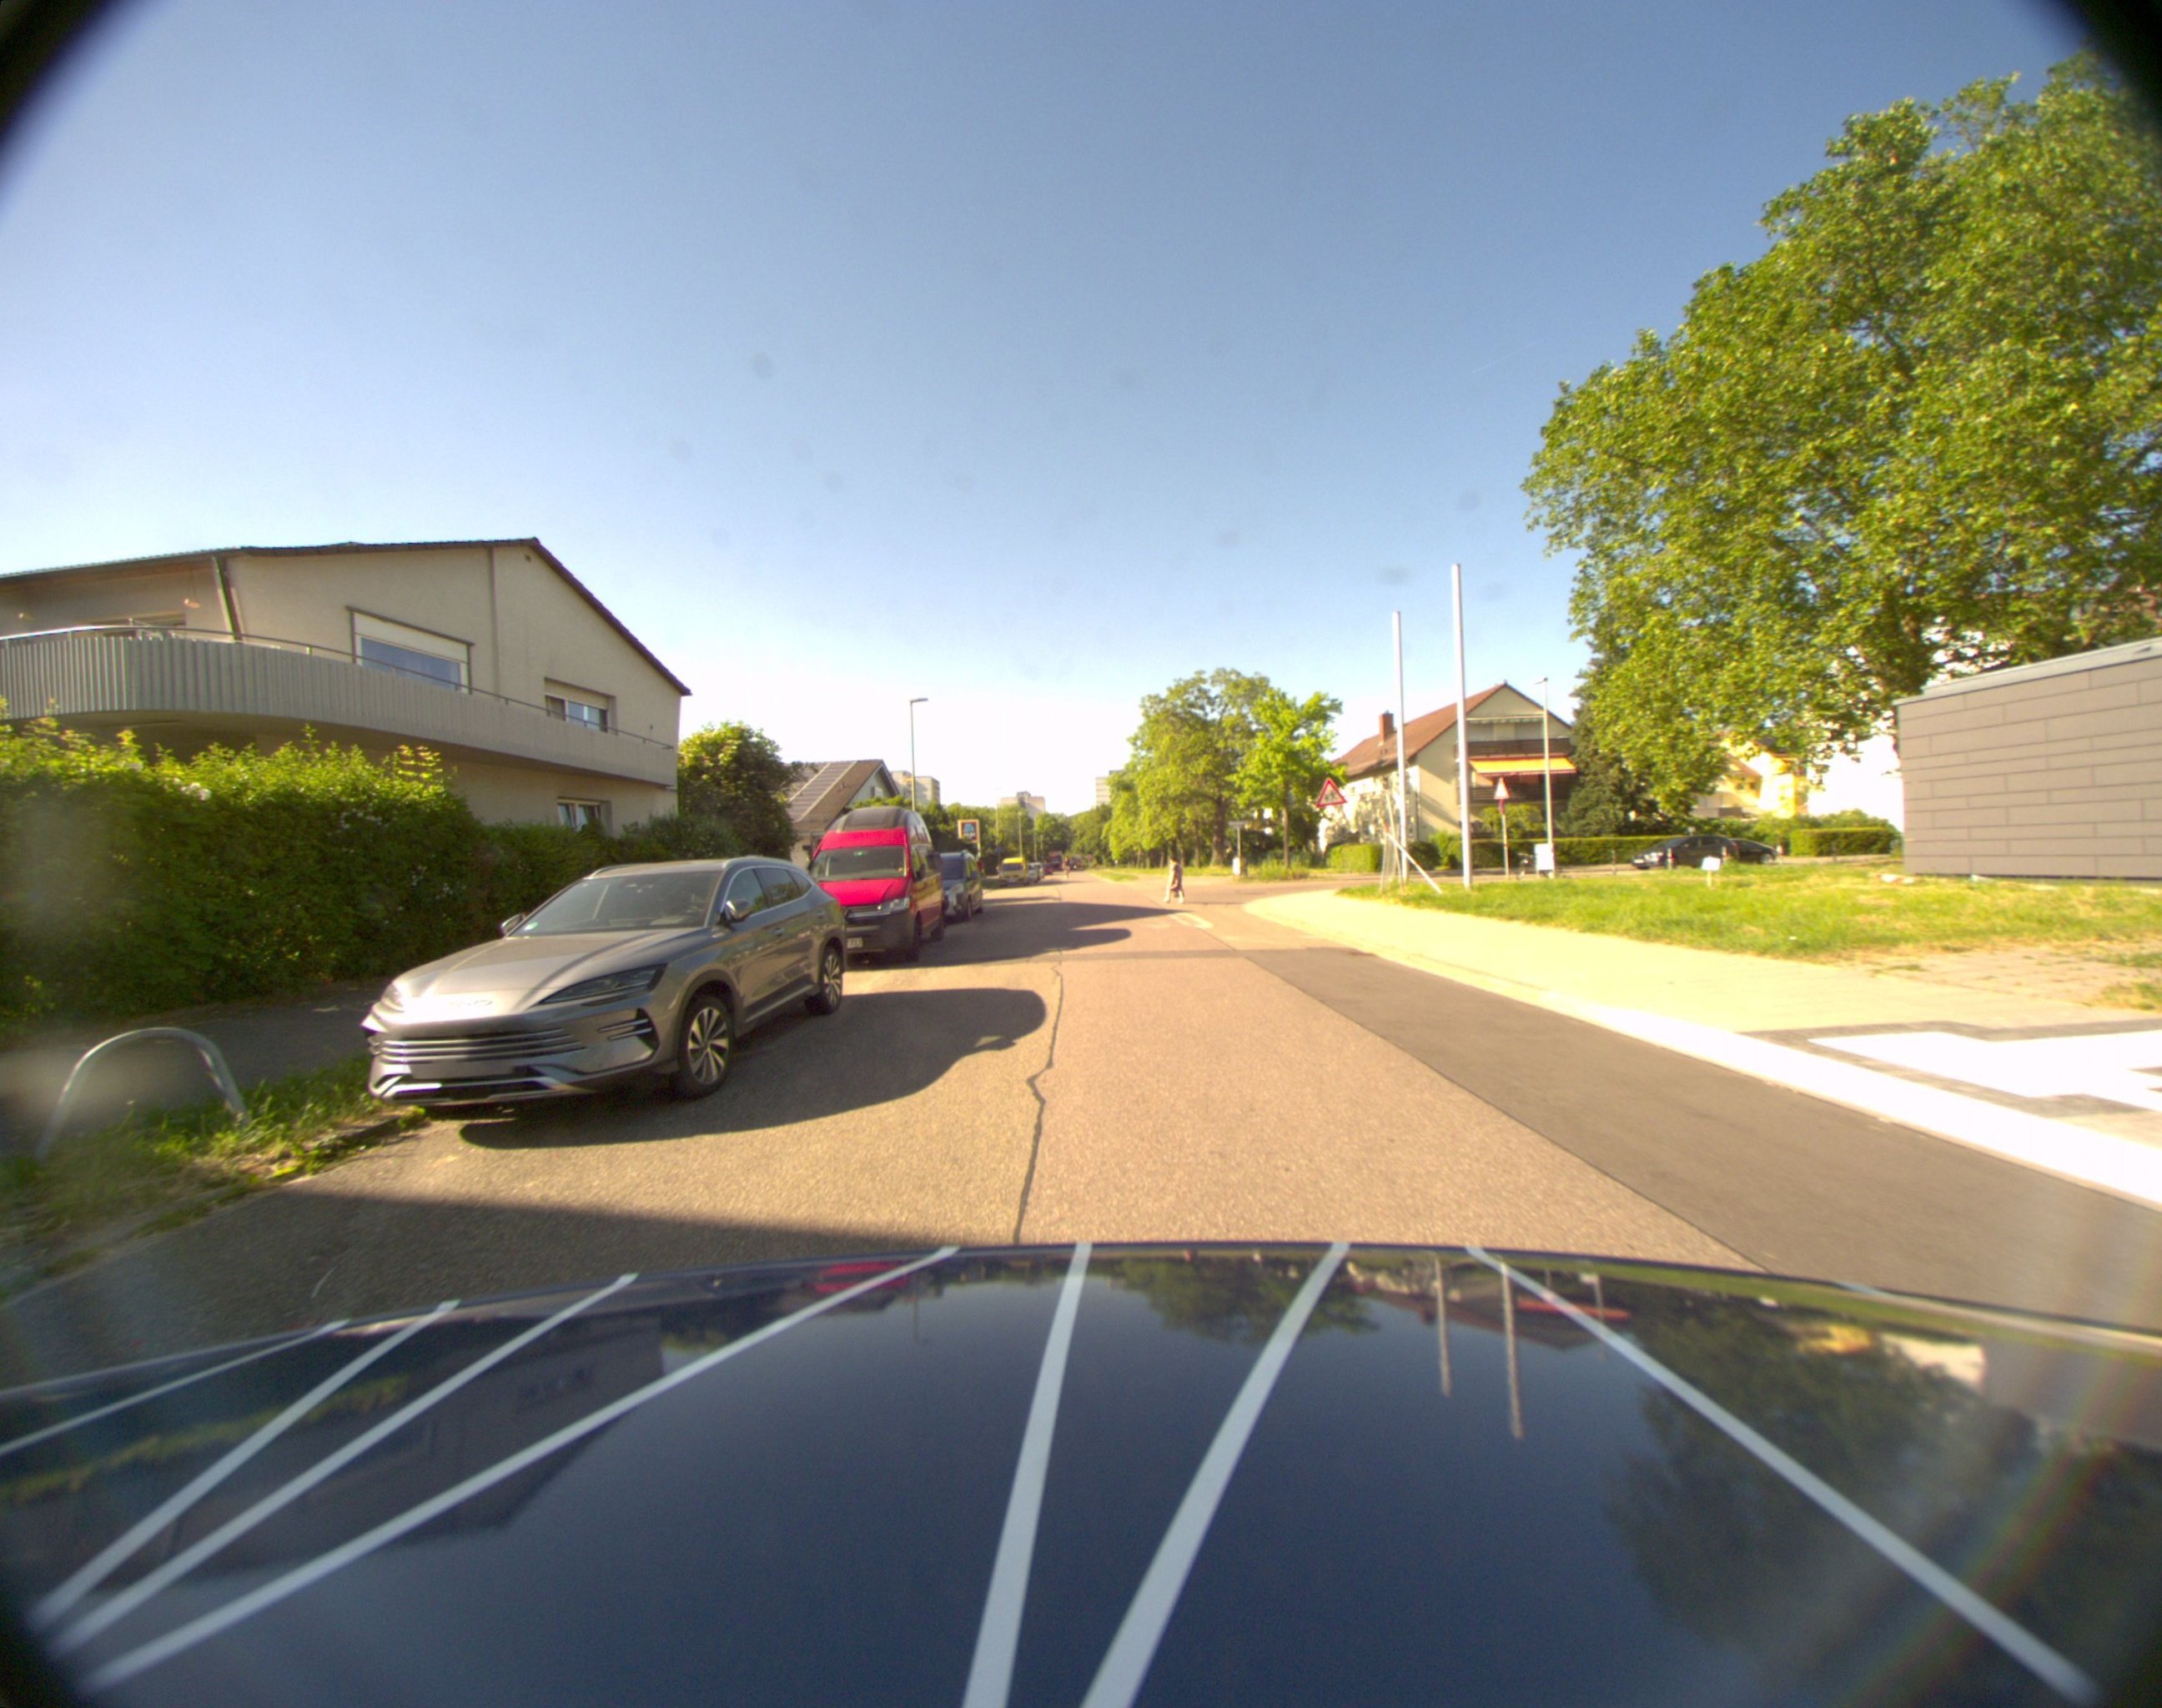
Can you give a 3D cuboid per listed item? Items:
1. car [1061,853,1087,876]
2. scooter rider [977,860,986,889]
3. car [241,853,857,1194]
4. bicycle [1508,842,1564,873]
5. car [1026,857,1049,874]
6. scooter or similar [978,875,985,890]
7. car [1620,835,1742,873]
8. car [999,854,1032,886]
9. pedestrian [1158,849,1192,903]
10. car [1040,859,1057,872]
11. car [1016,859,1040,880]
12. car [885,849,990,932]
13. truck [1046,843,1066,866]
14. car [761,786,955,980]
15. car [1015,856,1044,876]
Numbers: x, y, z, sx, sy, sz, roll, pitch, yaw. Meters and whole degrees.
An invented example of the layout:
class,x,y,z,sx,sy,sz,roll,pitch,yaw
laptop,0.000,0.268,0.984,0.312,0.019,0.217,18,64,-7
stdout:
class,x,y,z,sx,sy,sz,roll,pitch,yaw
car,-0.642,0.926,68.776,1.966,1.908,4.575,-3,1,-4
scooter rider,-7.085,1.464,54.284,0.599,2.002,0.486,1,0,-6
car,-3.569,0.919,6.441,1.962,1.728,4.575,-3,0,-1
bicycle,16.315,0.135,27.270,1.598,0.978,0.500,-5,-2,15
car,-4.358,1.127,76.455,1.999,1.587,4.577,-3,0,-1
scooter or similar,-7.080,2.005,54.301,0.457,1.024,1.049,1,0,-6
car,28.109,-0.021,35.712,4.106,1.450,2.115,-3,3,-2
car,-4.002,0.940,47.078,1.621,1.766,3.981,-3,0,-1
pedestrian,2.870,0.657,23.133,0.834,1.578,0.633,2,3,27
car,-4.361,1.561,102.588,1.998,1.587,4.578,-3,0,2
car,-4.063,1.181,58.718,1.621,1.478,3.981,-3,0,-1
car,-3.670,0.863,20.302,1.862,1.837,4.559,-5,0,-1
truck,-5.132,0.120,157.587,3.602,4.544,10.023,-3,0,0
car,-3.587,0.405,13.391,1.962,2.629,5.221,-4,0,-3
car,-4.328,0.985,64.455,1.999,1.587,4.578,-3,0,0
